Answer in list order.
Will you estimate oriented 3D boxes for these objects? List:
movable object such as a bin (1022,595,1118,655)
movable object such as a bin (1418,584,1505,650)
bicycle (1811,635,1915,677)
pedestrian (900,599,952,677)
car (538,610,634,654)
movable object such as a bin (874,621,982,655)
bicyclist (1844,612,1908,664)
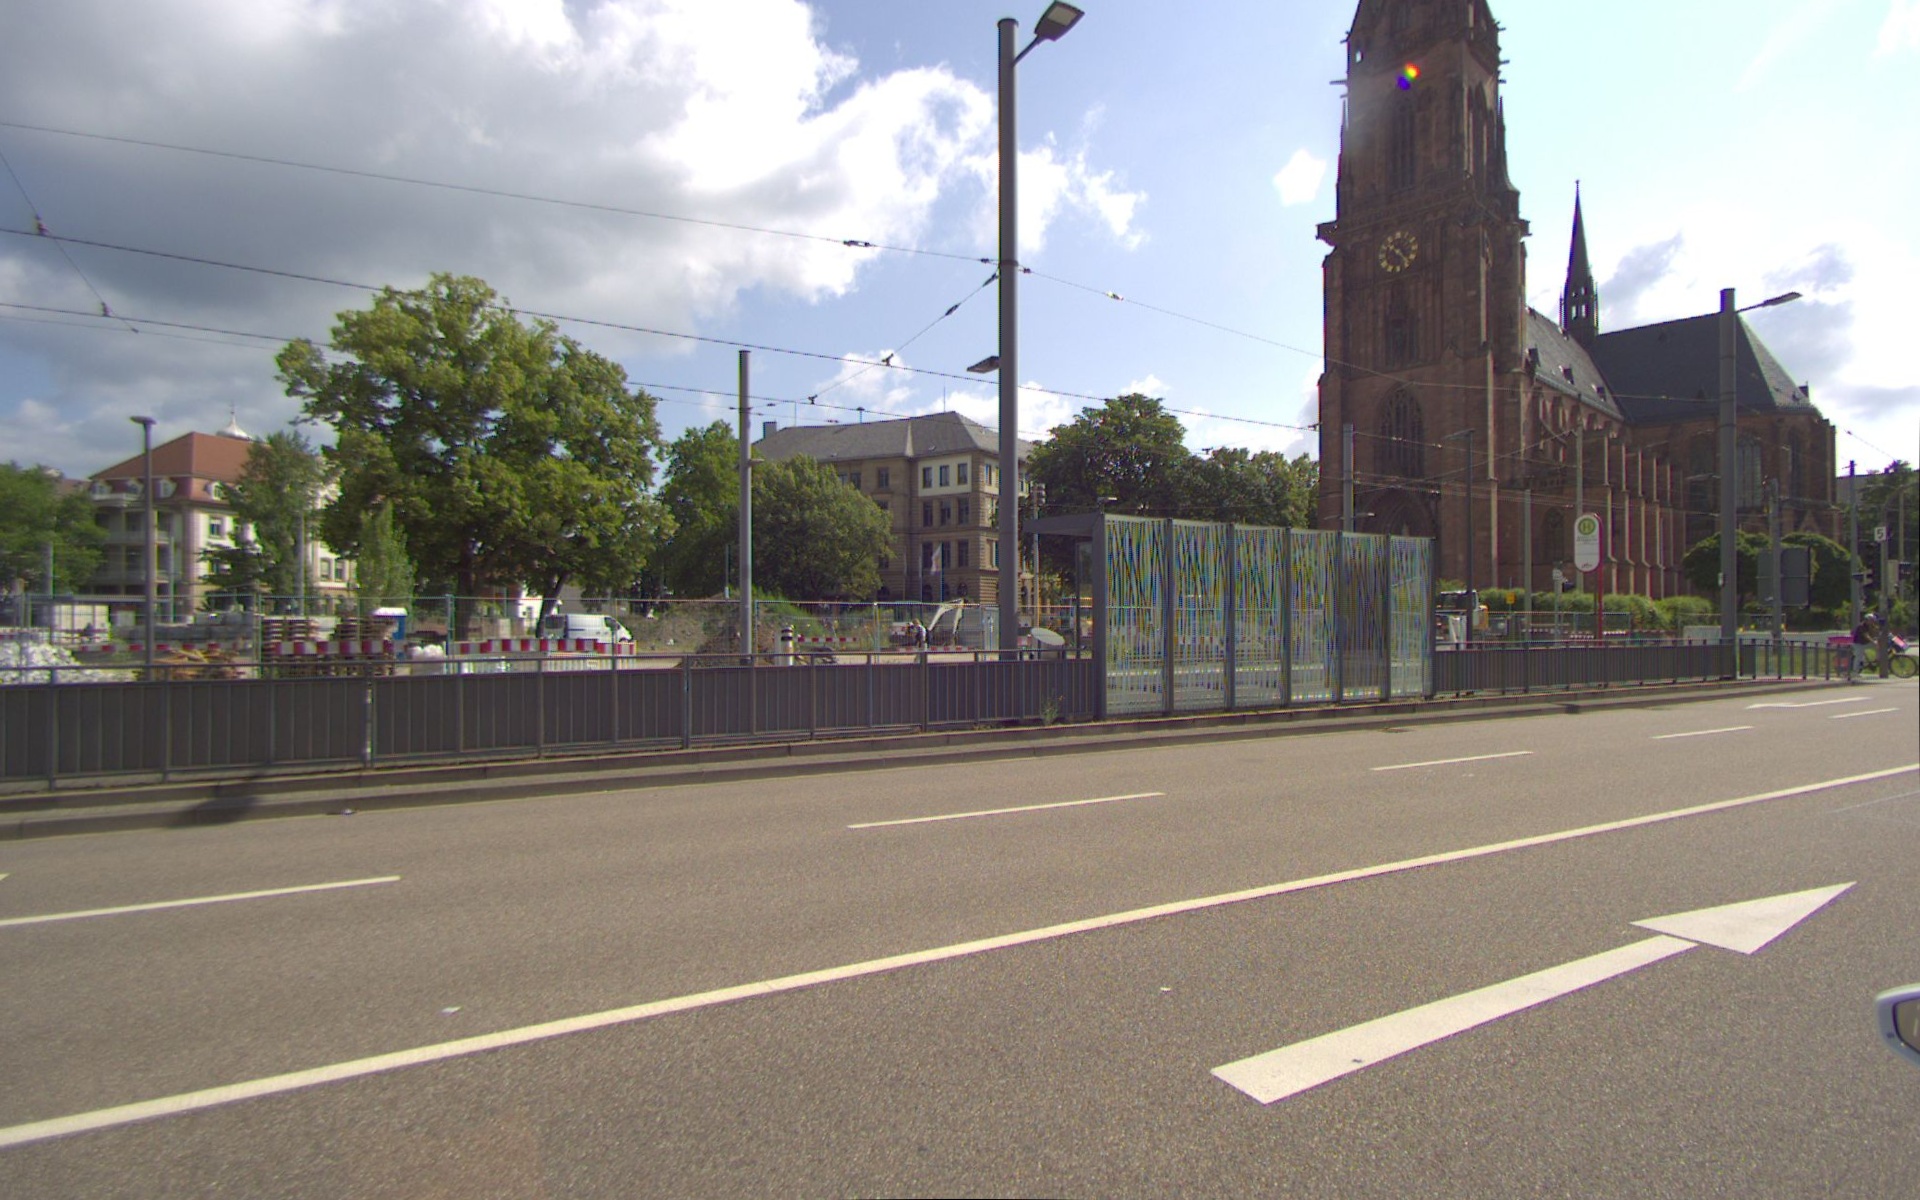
[{"bbox_3d":[5.585,1.280,51.738,1.982,2.950,5.100,1,-2,-37],"label":"movable object such as a bin"},{"bbox_3d":[25.673,0.850,51.413,3.948,3.147,1.986,-2,0,-27],"label":"movable object such as a bin"},{"bbox_3d":[25.760,1.578,28.699,0.917,1.141,2.016,0,-2,-20],"label":"bicycle"},{"bbox_3d":[-0.921,1.005,26.816,1.037,2.040,1.062,1,-2,-27],"label":"pedestrian"},{"bbox_3d":[-19.753,1.661,53.269,1.906,2.166,4.637,-1,0,28],"label":"car"},{"bbox_3d":[-1.442,1.766,47.217,5.120,1.522,1.974,1,-2,-44],"label":"movable object such as a bin"},{"bbox_3d":[25.909,1.066,28.425,0.812,1.455,1.087,0,-1,-21],"label":"bicyclist"}]
